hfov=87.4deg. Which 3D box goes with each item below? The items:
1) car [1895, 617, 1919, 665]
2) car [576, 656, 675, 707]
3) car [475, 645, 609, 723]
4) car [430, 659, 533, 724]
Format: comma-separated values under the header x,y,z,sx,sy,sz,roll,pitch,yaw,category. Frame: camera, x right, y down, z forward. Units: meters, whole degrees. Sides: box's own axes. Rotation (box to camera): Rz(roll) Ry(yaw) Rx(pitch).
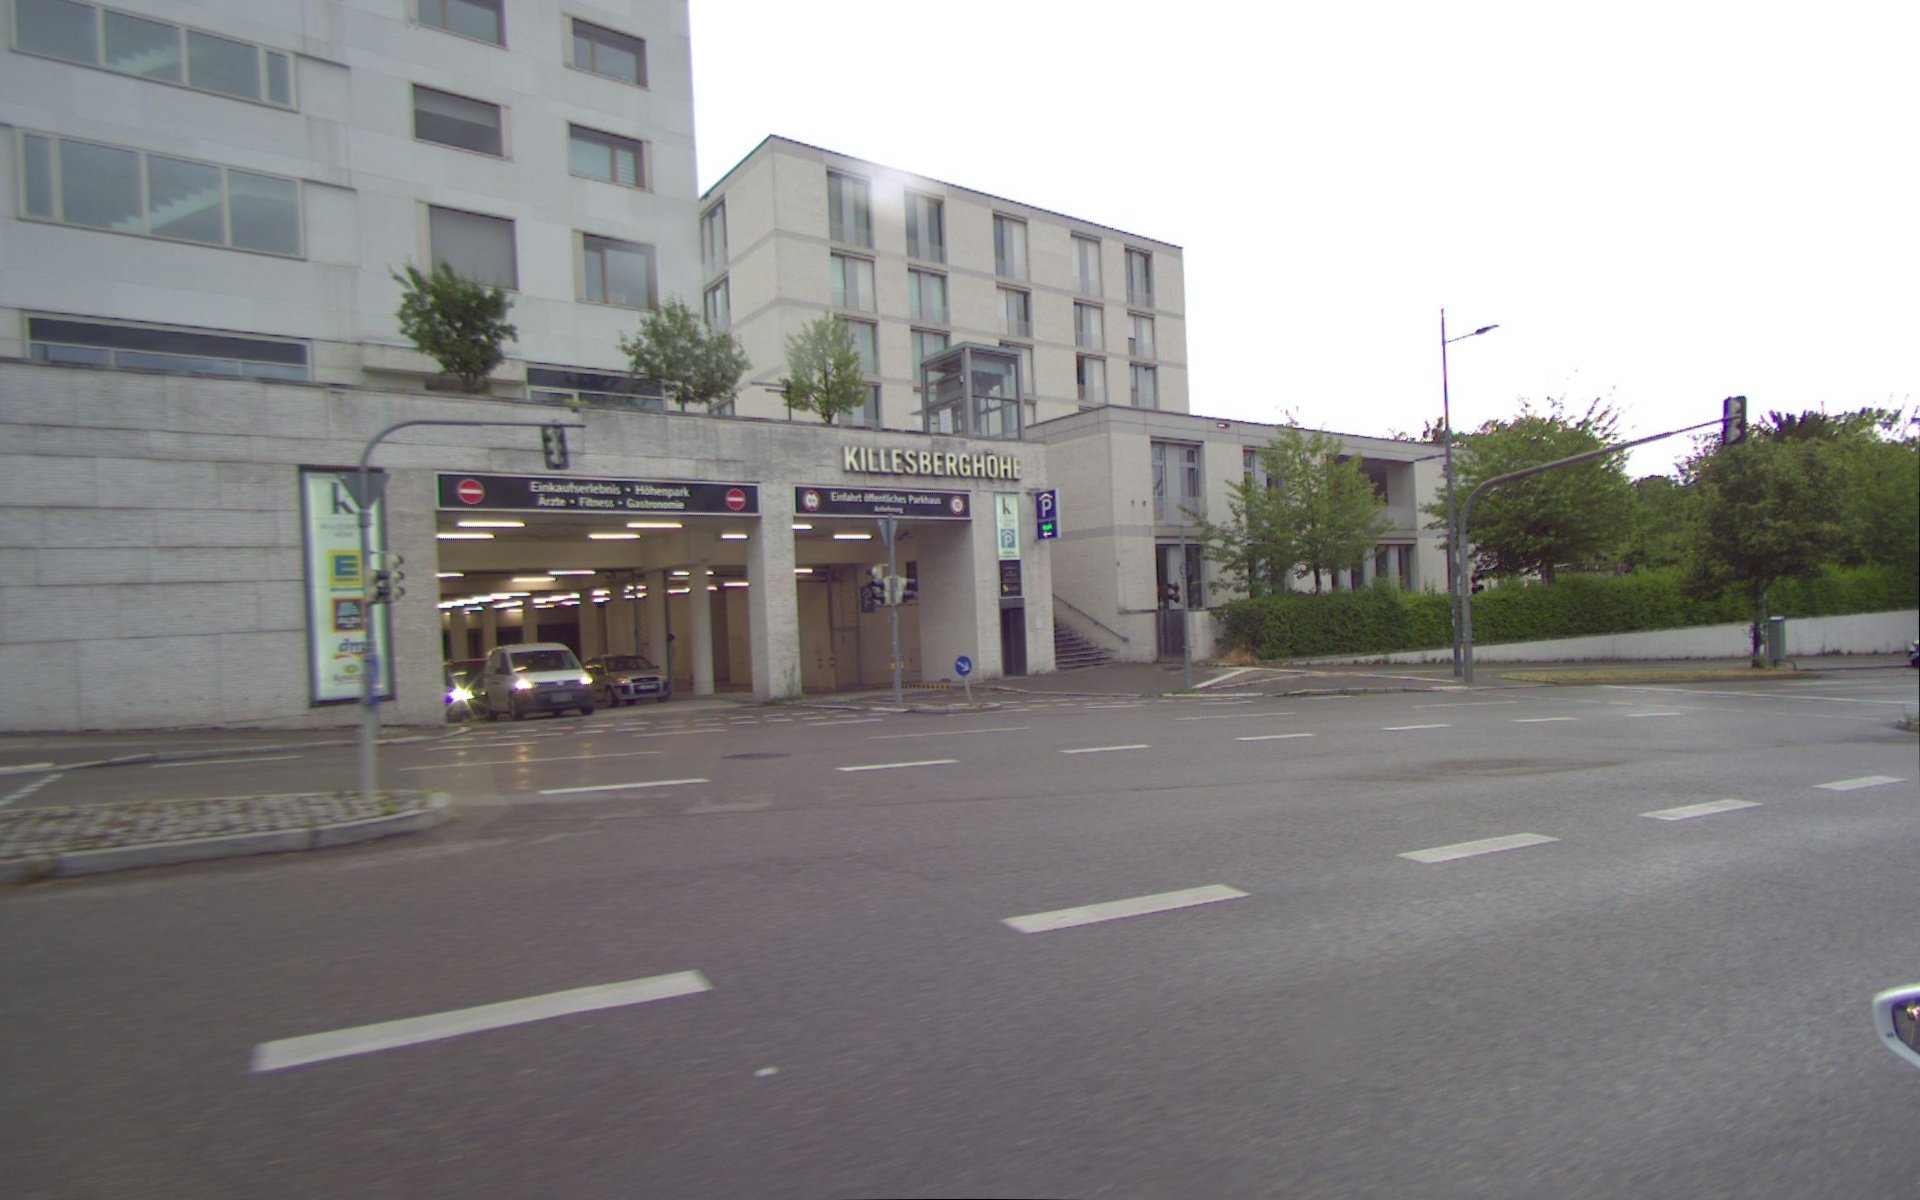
x,y,z,sx,sy,sz,roll,pitch,yaw,category
35.907,1.474,36.015,4.031,1.662,1.850,0,1,-20,car
-9.813,2.327,29.296,1.646,1.368,3.666,1,-3,-37,car
-10.225,1.951,24.368,1.911,1.693,4.468,2,-3,-38,car
-14.364,2.772,30.046,1.918,1.726,3.958,1,-7,-39,car
